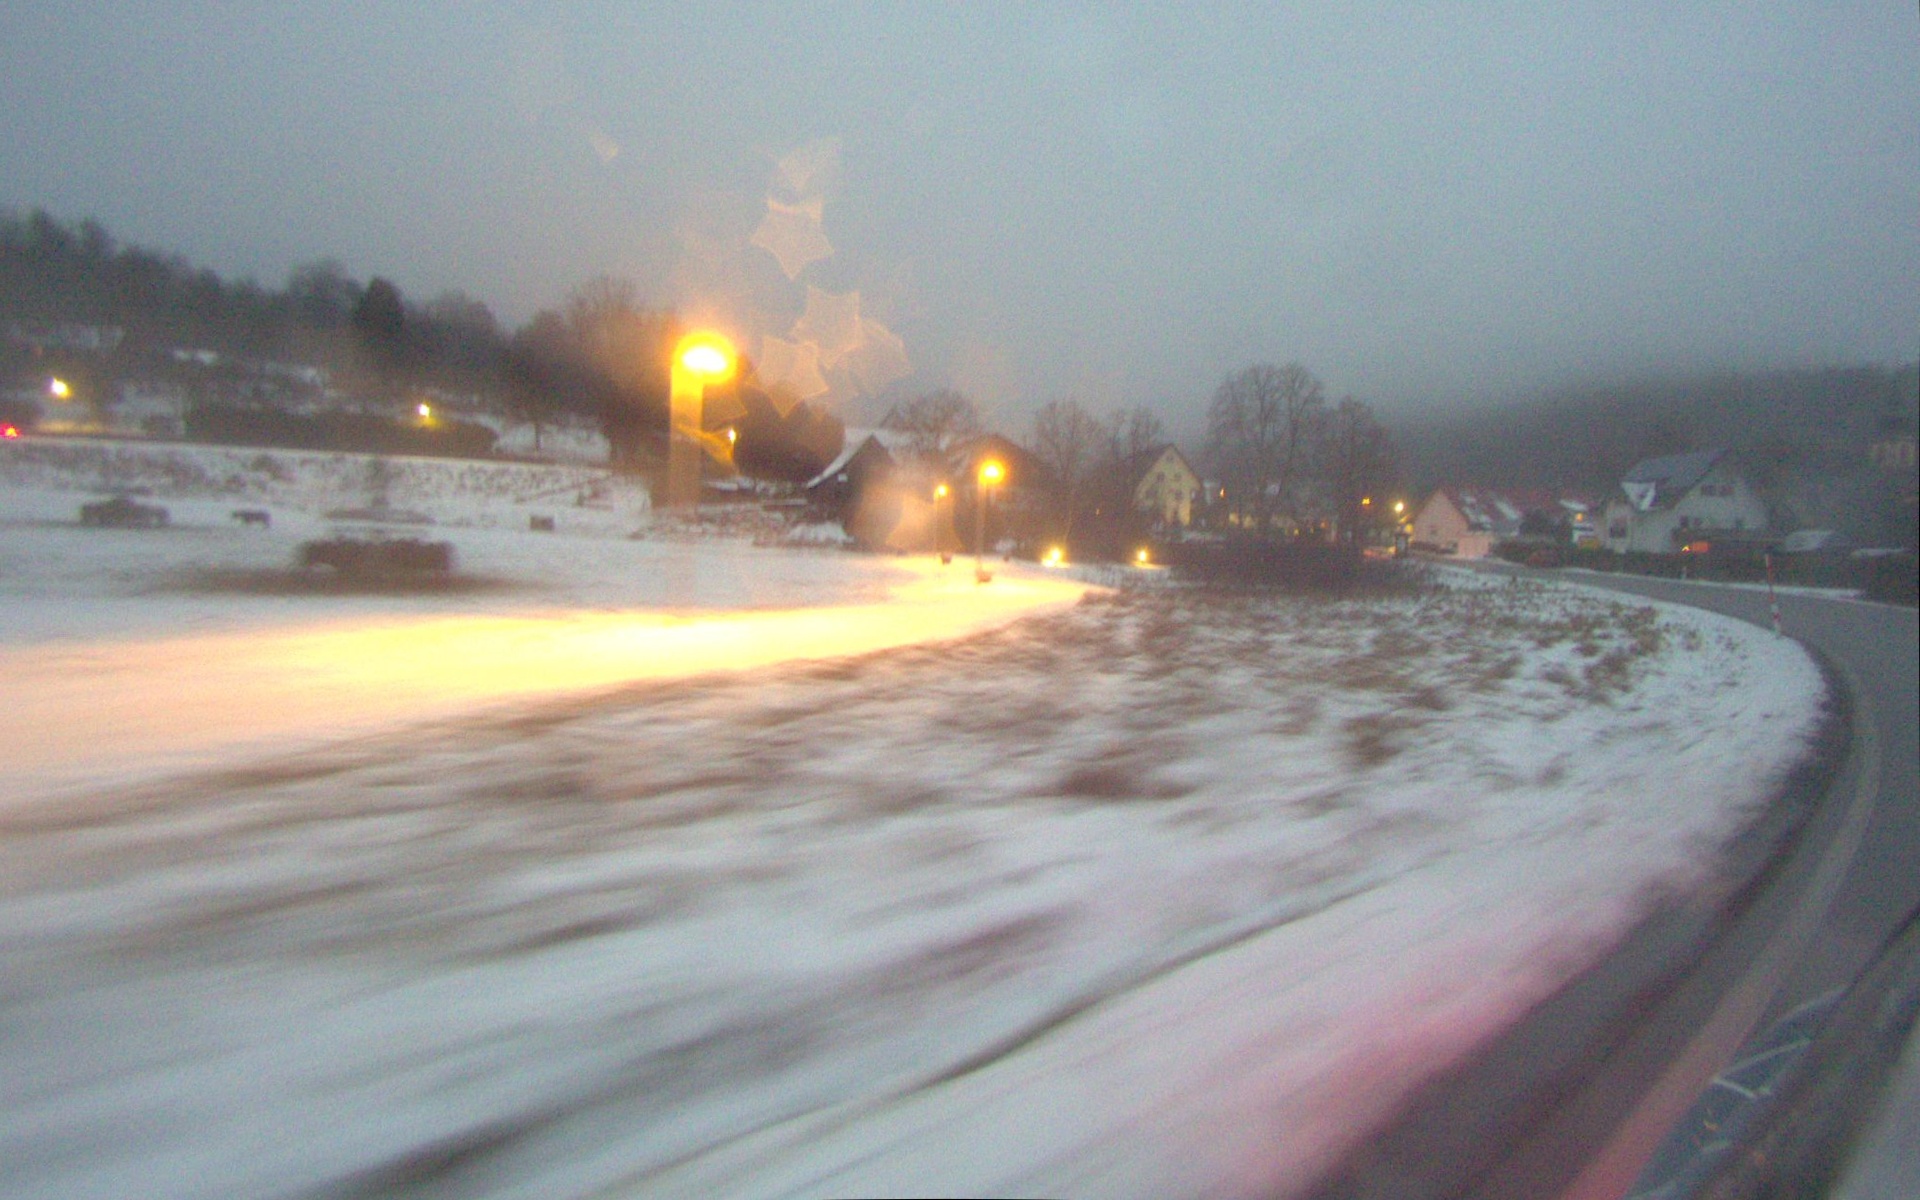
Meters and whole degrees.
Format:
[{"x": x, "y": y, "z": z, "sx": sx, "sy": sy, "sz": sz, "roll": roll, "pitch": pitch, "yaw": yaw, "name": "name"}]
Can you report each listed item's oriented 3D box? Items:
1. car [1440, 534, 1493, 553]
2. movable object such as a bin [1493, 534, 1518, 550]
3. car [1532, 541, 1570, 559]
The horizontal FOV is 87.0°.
[{"x": 62.126, "y": -6.924, "z": 124.123, "sx": 5.180, "sy": 2.035, "sz": 2.218, "roll": 1, "pitch": 8, "yaw": 2, "name": "car"}, {"x": 60.987, "y": -6.504, "z": 113.179, "sx": 2.347, "sy": 1.668, "sz": 1.430, "roll": 0, "pitch": 4, "yaw": 26, "name": "movable object such as a bin"}, {"x": 55.299, "y": -4.708, "z": 94.709, "sx": 1.694, "sy": 1.552, "sz": 3.514, "roll": 2, "pitch": 4, "yaw": 5, "name": "car"}]
